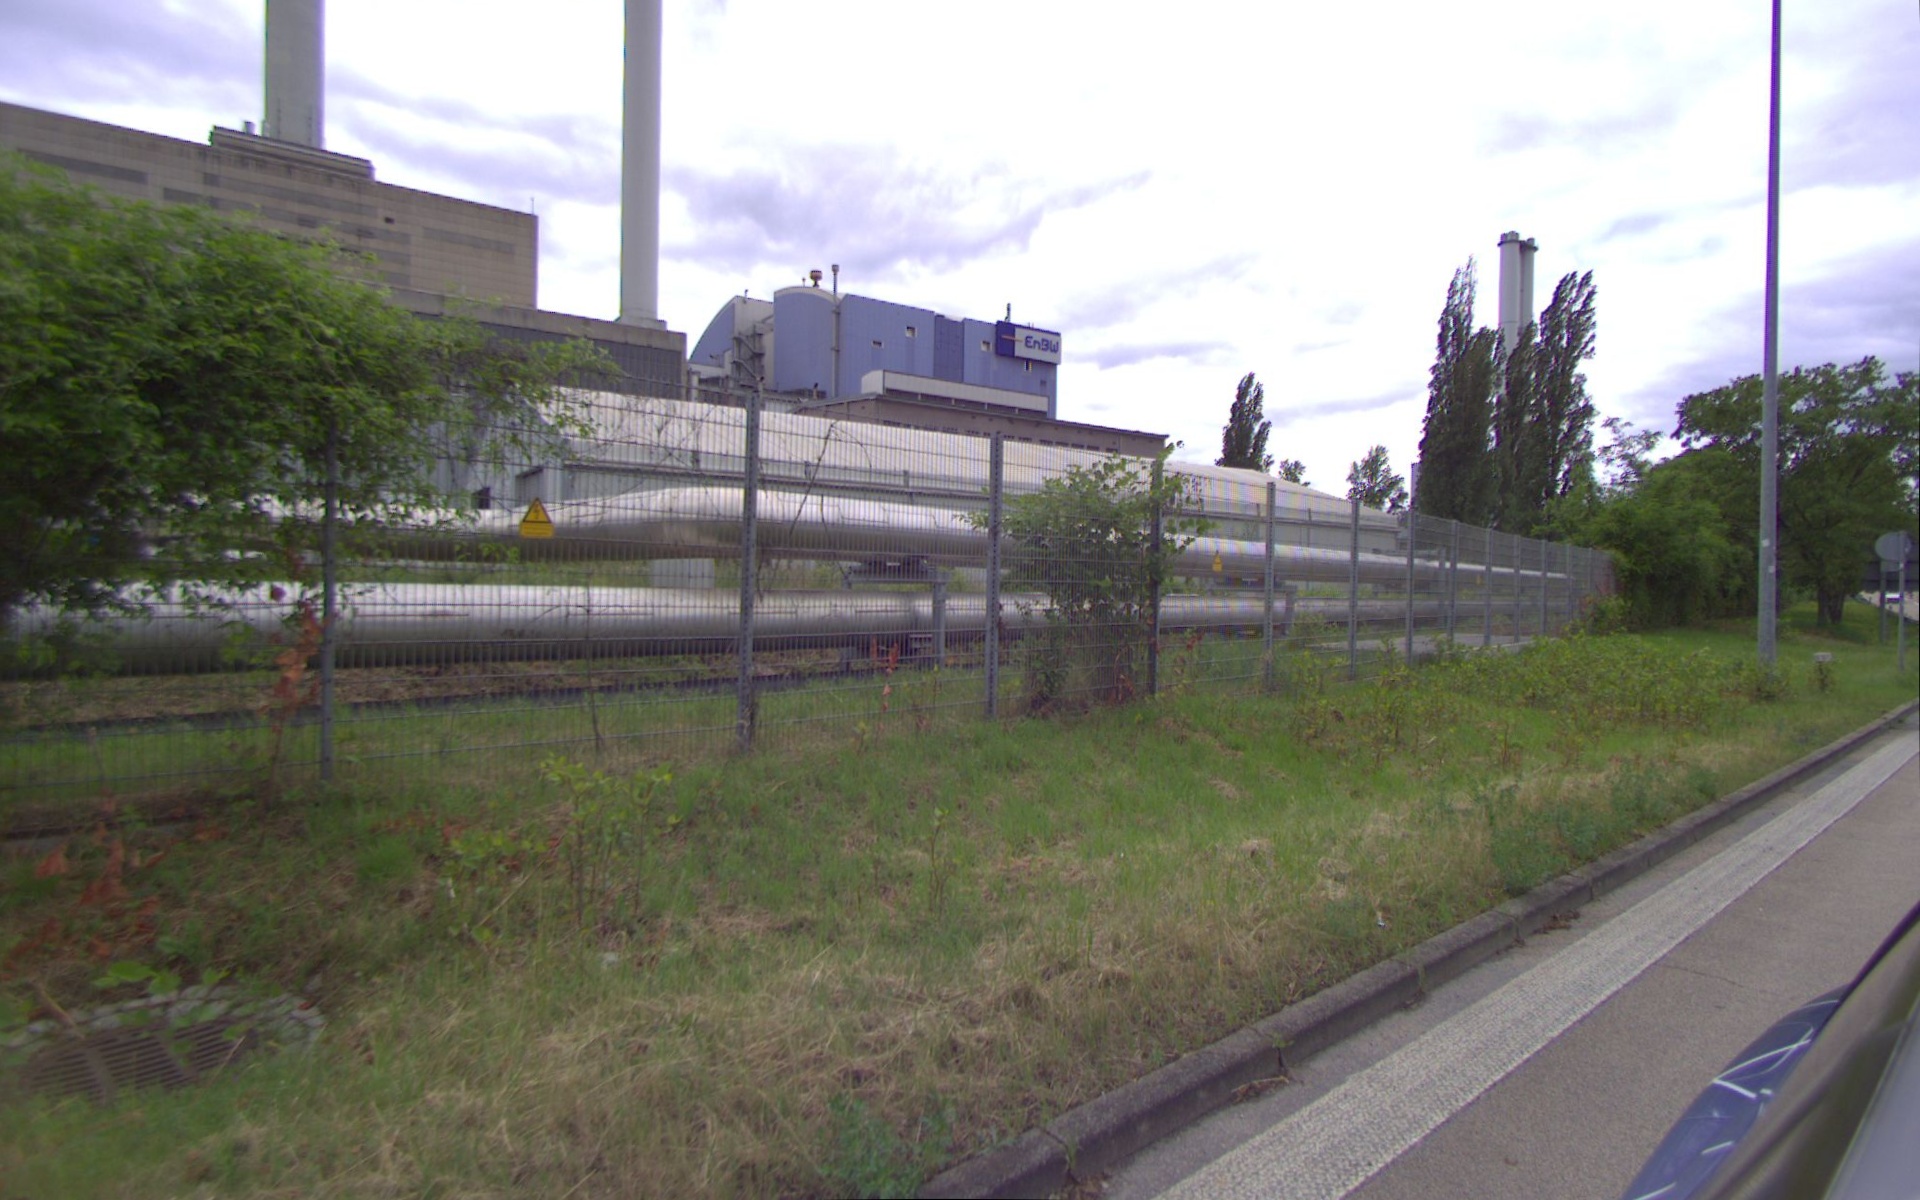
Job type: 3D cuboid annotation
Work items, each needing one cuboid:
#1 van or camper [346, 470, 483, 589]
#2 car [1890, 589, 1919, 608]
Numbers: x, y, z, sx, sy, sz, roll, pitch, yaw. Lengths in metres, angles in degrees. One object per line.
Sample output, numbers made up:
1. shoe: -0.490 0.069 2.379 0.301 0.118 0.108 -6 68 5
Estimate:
1. van or camper: -13.840 -1.634 25.428 2.526 2.580 6.130 0 1 -33
2. car: 98.275 -0.131 105.142 1.982 1.885 3.886 2 1 38
